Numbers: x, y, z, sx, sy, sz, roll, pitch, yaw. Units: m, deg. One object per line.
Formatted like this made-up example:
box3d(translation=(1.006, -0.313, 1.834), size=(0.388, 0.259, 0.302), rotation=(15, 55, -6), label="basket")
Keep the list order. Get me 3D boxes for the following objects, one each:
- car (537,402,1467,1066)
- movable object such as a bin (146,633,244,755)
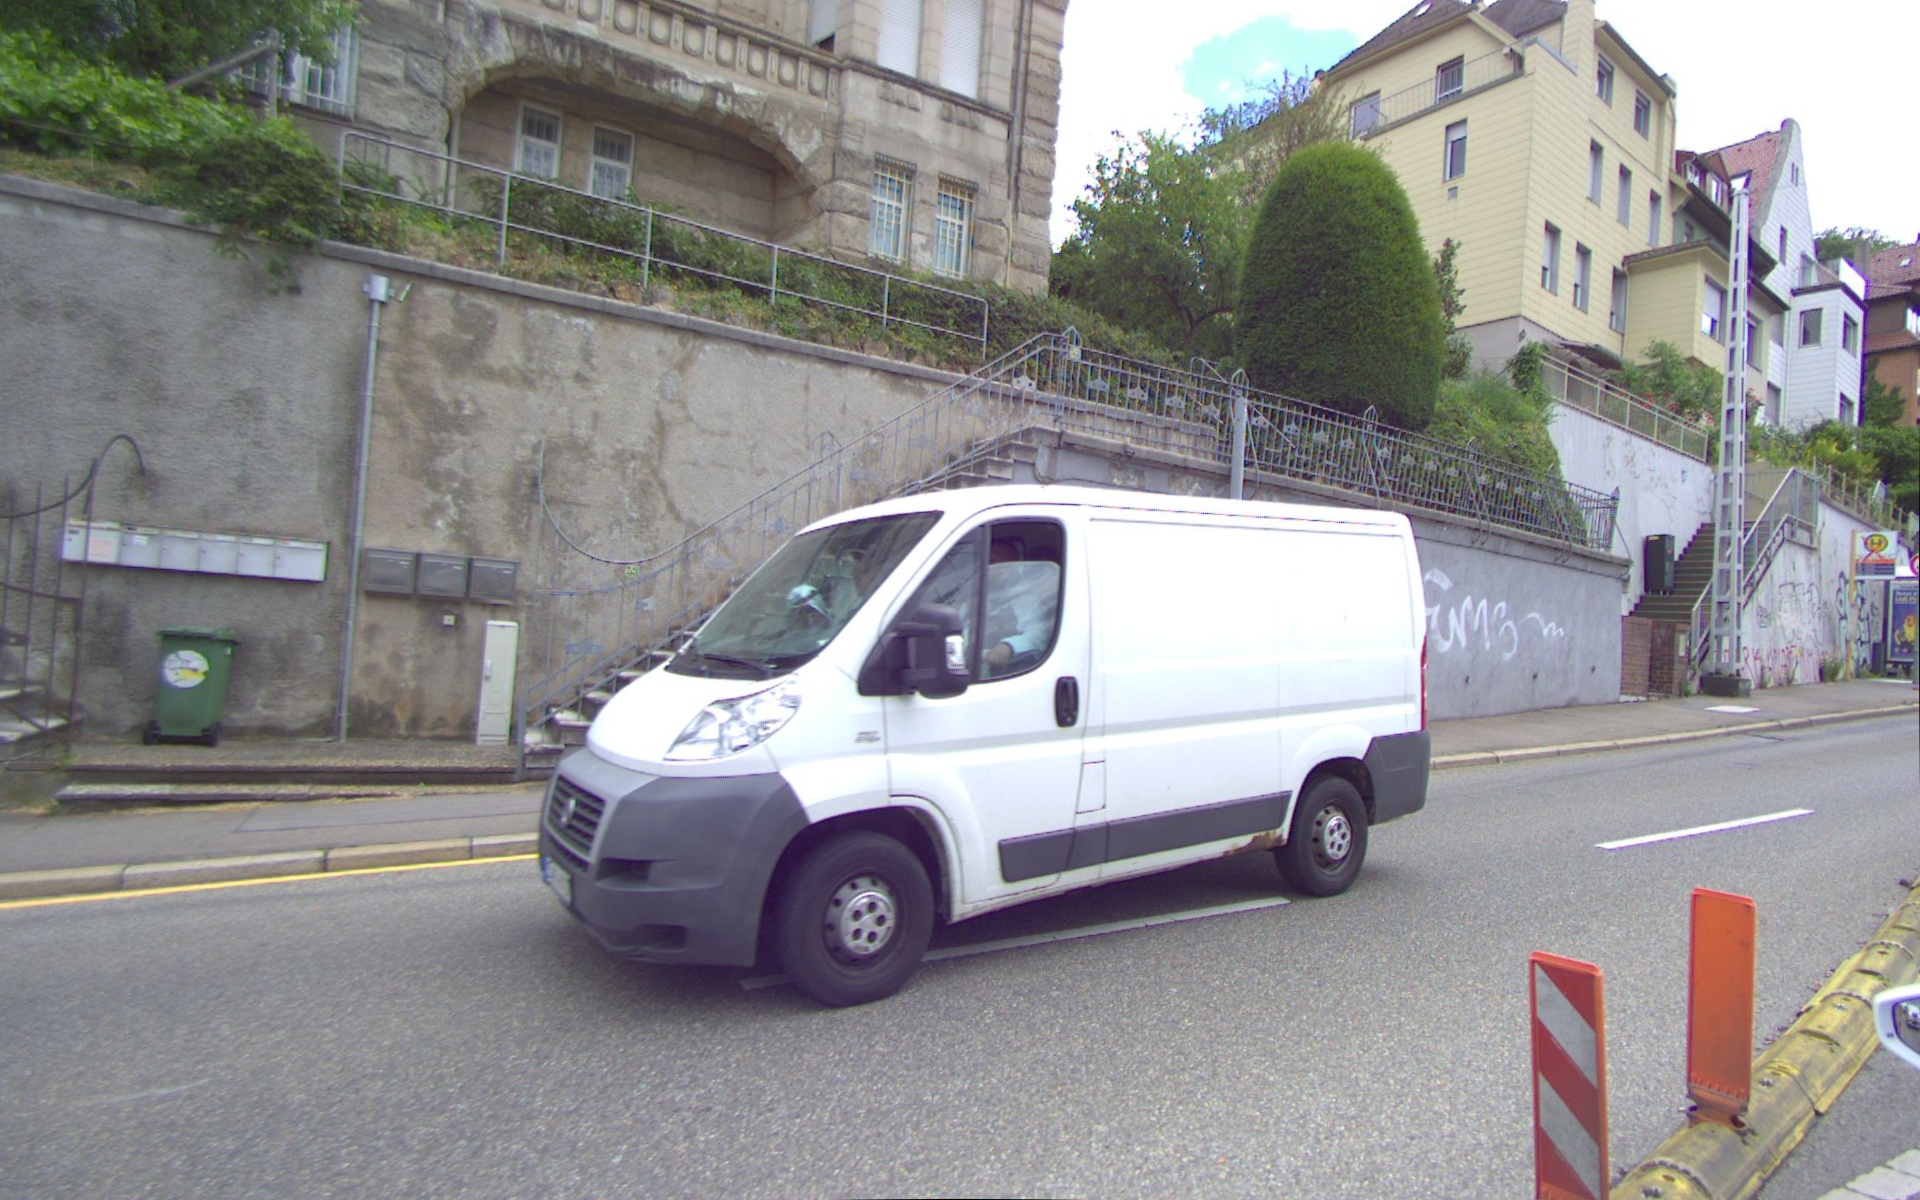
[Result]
box3d(translation=(0.469, 0.552, 5.600), size=(4.911, 2.216, 2.055), rotation=(2, -3, -34), label="car")
box3d(translation=(-6.087, 0.733, 8.010), size=(0.501, 0.923, 0.452), rotation=(2, -1, -24), label="movable object such as a bin")
